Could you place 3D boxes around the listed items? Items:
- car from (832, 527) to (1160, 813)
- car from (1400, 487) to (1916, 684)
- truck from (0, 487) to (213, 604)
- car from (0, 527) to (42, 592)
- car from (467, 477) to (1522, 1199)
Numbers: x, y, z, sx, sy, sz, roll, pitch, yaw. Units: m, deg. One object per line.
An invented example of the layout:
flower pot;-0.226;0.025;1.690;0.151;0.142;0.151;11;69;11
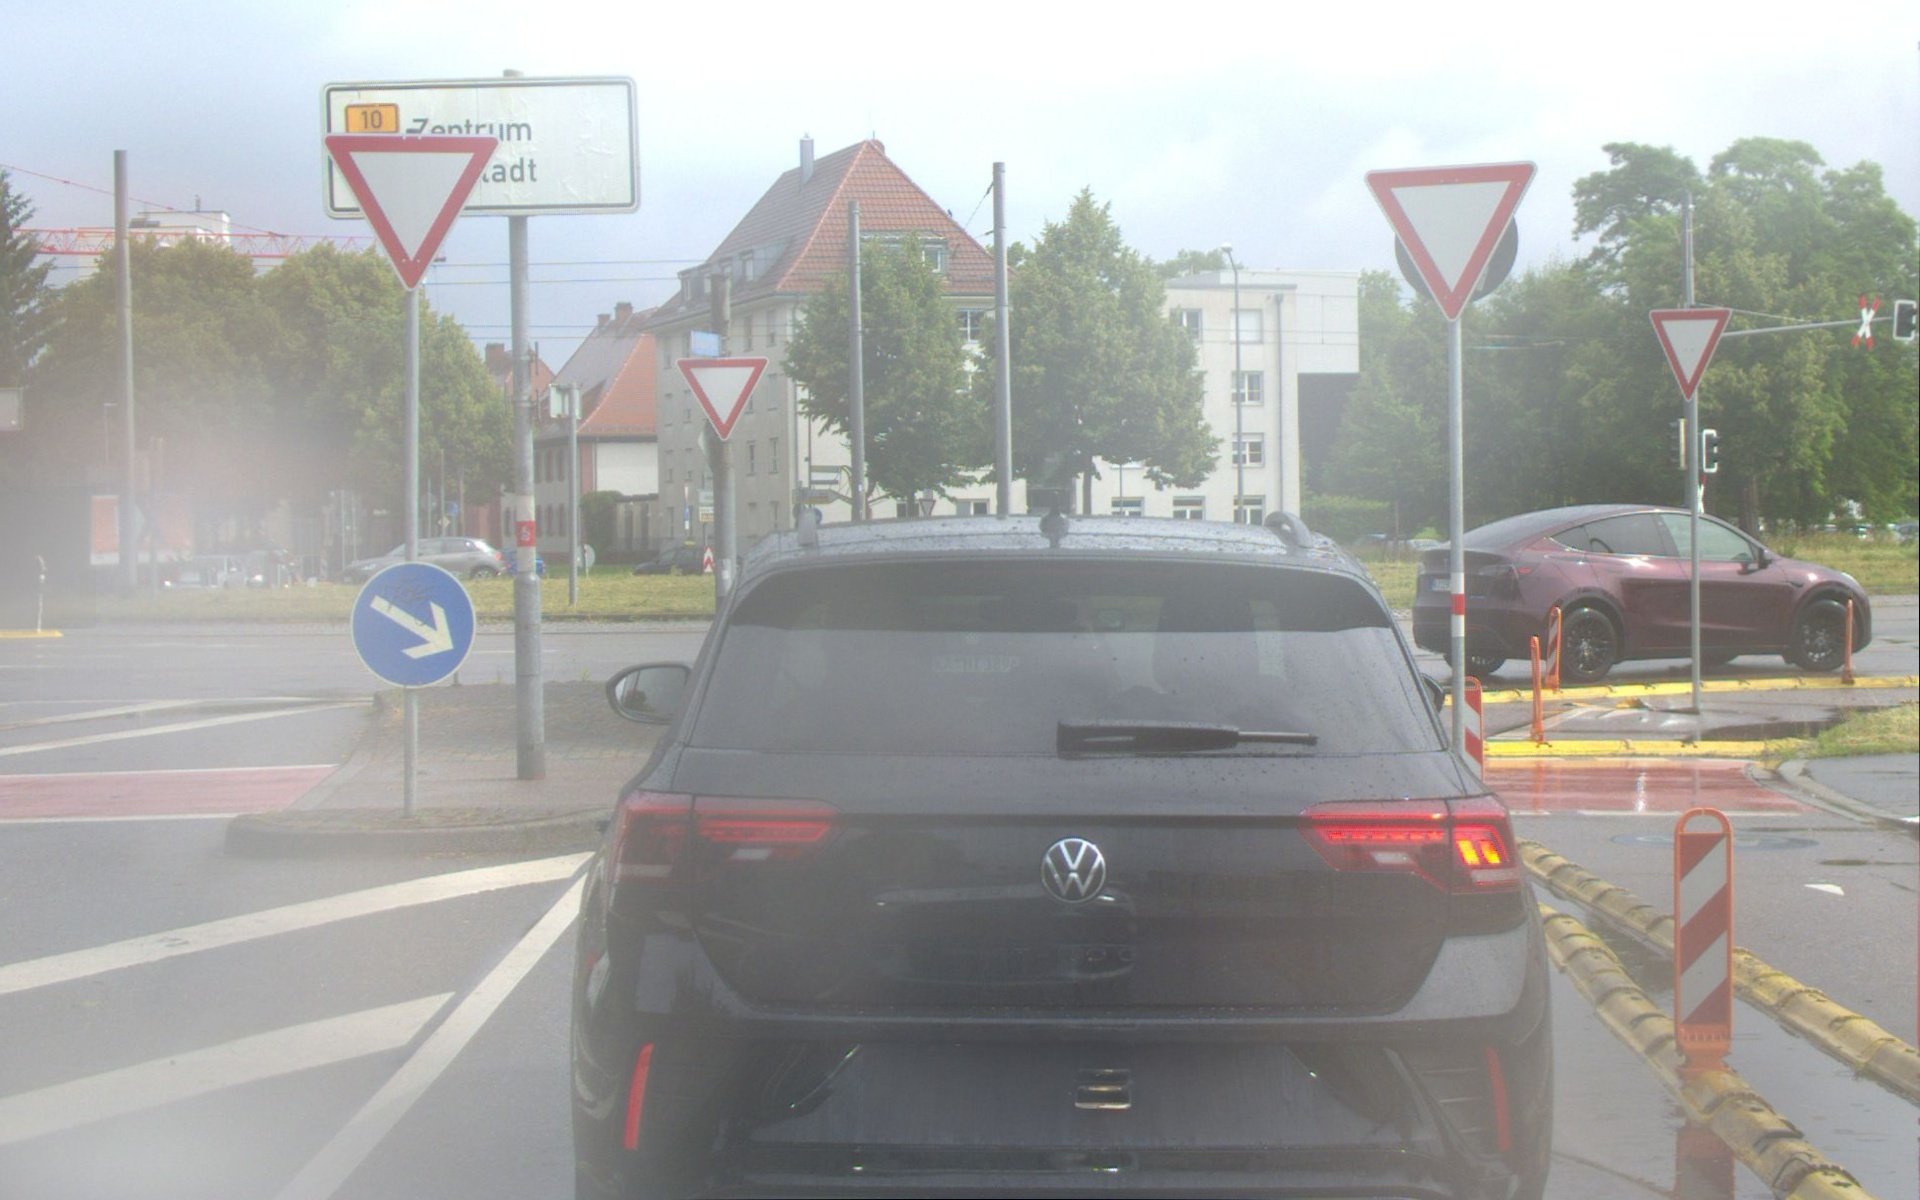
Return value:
car;0.248;0.336;20.134;1.735;1.509;3.604;0;1;2
car;6.574;-0.162;32.594;4.341;1.719;2.001;-1;1;-11
truck;-21.158;-1.292;80.355;2.328;2.641;7.071;1;2;45
car;-24.365;-0.987;83.821;3.496;1.579;1.567;-1;2;-39
car;-0.035;0.559;7.411;1.708;1.568;3.683;0;1;-3
